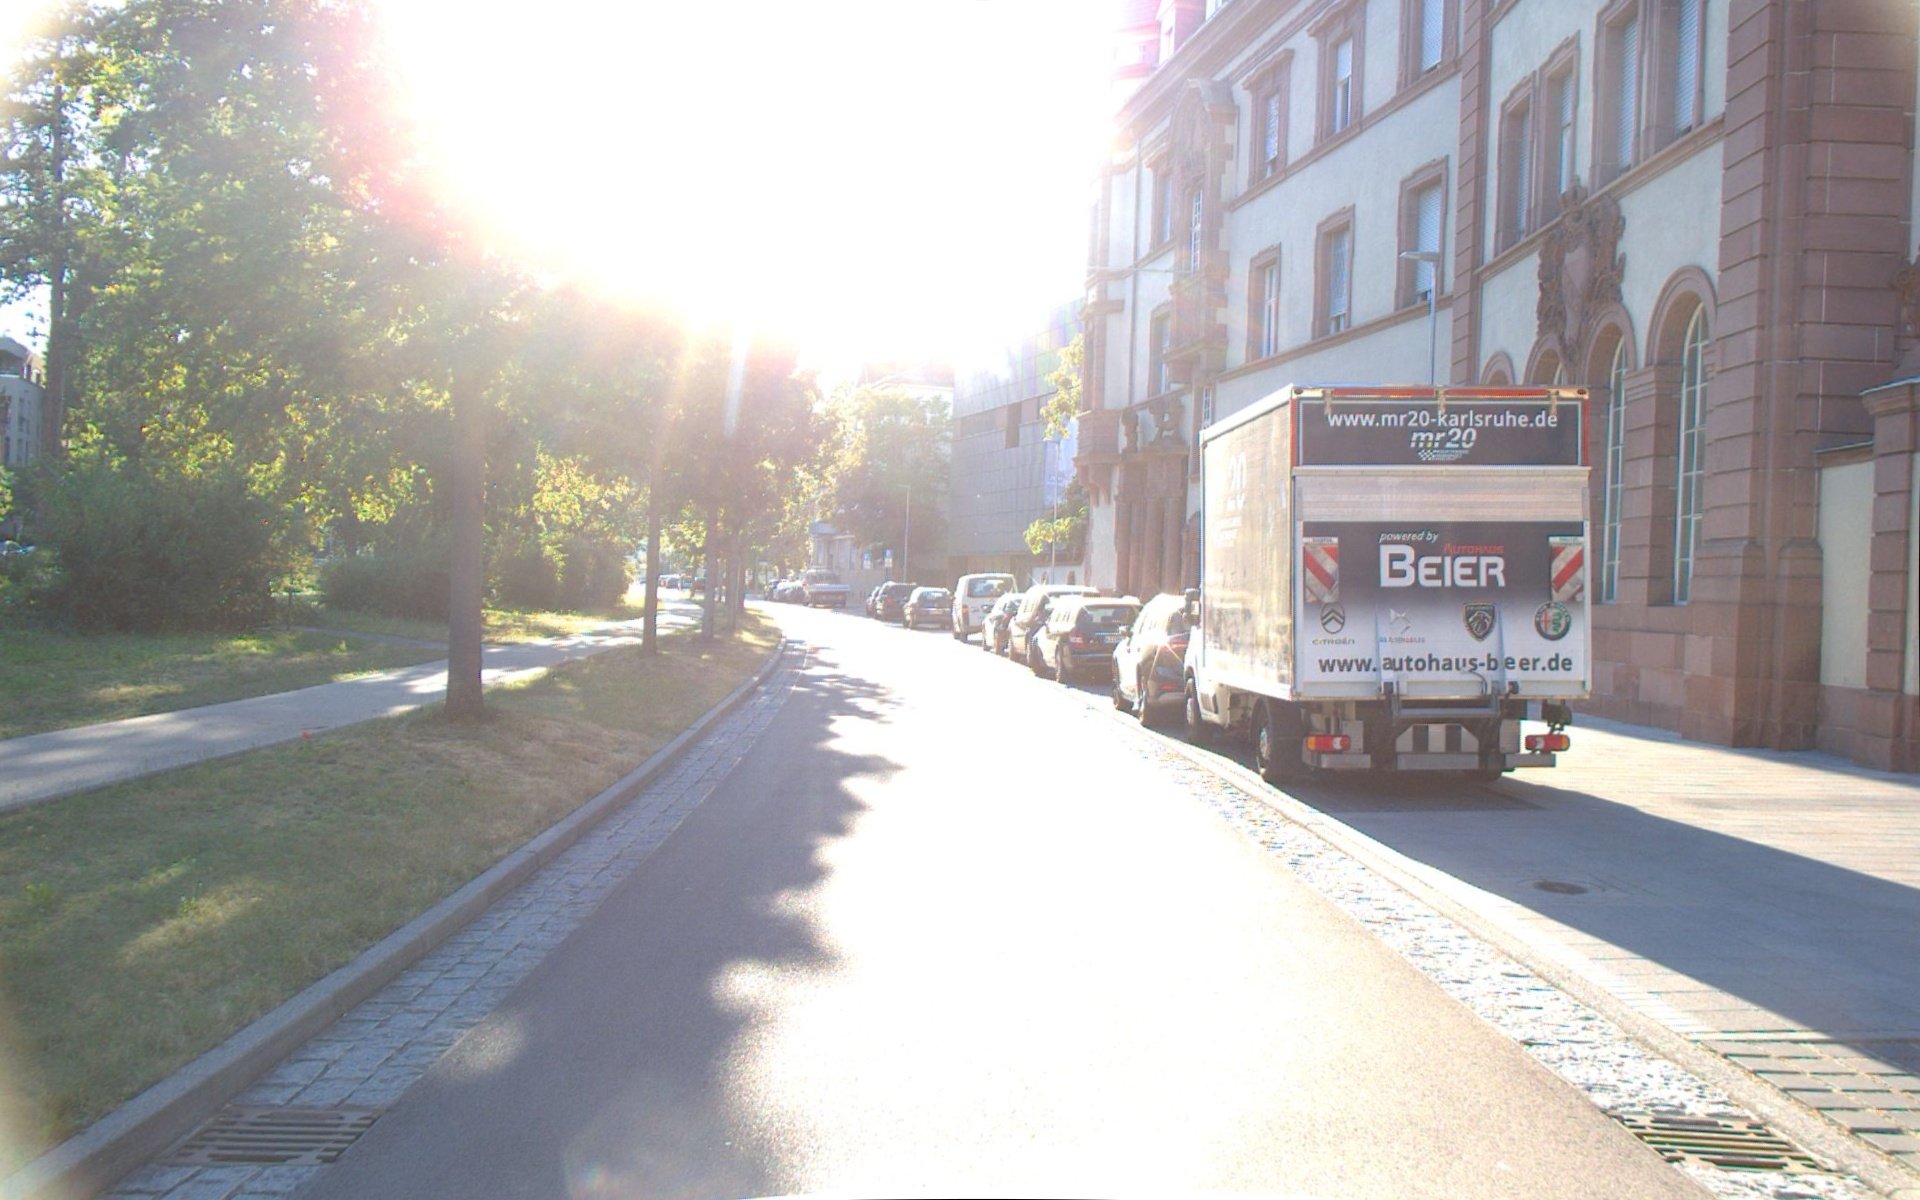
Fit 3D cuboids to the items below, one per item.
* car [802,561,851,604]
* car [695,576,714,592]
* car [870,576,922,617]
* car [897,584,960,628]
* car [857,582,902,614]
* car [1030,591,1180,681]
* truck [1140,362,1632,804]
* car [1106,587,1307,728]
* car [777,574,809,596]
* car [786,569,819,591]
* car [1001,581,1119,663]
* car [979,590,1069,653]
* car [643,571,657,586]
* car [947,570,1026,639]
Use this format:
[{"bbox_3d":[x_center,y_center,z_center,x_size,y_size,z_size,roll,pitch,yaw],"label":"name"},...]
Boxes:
[{"bbox_3d":[-8.213,-1.095,101.316,2.173,2.574,6.128,0,1,-13],"label":"car"},{"bbox_3d":[-26.980,-1.724,174.521,1.761,1.536,3.991,3,0,-10],"label":"car"},{"bbox_3d":[-2.842,-0.167,72.896,1.693,1.698,4.103,1,1,-11],"label":"car"},{"bbox_3d":[-1.240,0.192,62.702,1.715,1.492,4.468,3,0,-9],"label":"car"},{"bbox_3d":[-3.872,-0.110,78.845,1.692,1.446,3.898,1,1,-9],"label":"car"},{"bbox_3d":[2.499,0.589,29.602,1.835,1.461,4.517,0,1,-6],"label":"car"},{"bbox_3d":[3.434,-0.151,15.025,2.571,3.175,6.083,0,1,-4],"label":"truck"},{"bbox_3d":[2.961,0.627,20.765,1.732,1.557,4.571,0,0,-1],"label":"car"},{"bbox_3d":[-11.823,-1.078,116.962,1.662,1.465,4.089,1,1,-14],"label":"car"},{"bbox_3d":[-10.693,-1.356,112.275,1.662,1.465,3.537,1,1,-14],"label":"car"},{"bbox_3d":[2.064,0.424,35.191,1.781,1.630,4.186,1,1,-7],"label":"car"},{"bbox_3d":[1.504,0.483,40.175,1.646,1.427,4.195,0,1,-5],"label":"car"},{"bbox_3d":[-44.658,-3.081,237.971,1.763,2.034,3.987,2,0,-13],"label":"car"},{"bbox_3d":[0.761,0.113,50.865,1.954,2.000,4.845,-1,0,-4],"label":"car"}]
